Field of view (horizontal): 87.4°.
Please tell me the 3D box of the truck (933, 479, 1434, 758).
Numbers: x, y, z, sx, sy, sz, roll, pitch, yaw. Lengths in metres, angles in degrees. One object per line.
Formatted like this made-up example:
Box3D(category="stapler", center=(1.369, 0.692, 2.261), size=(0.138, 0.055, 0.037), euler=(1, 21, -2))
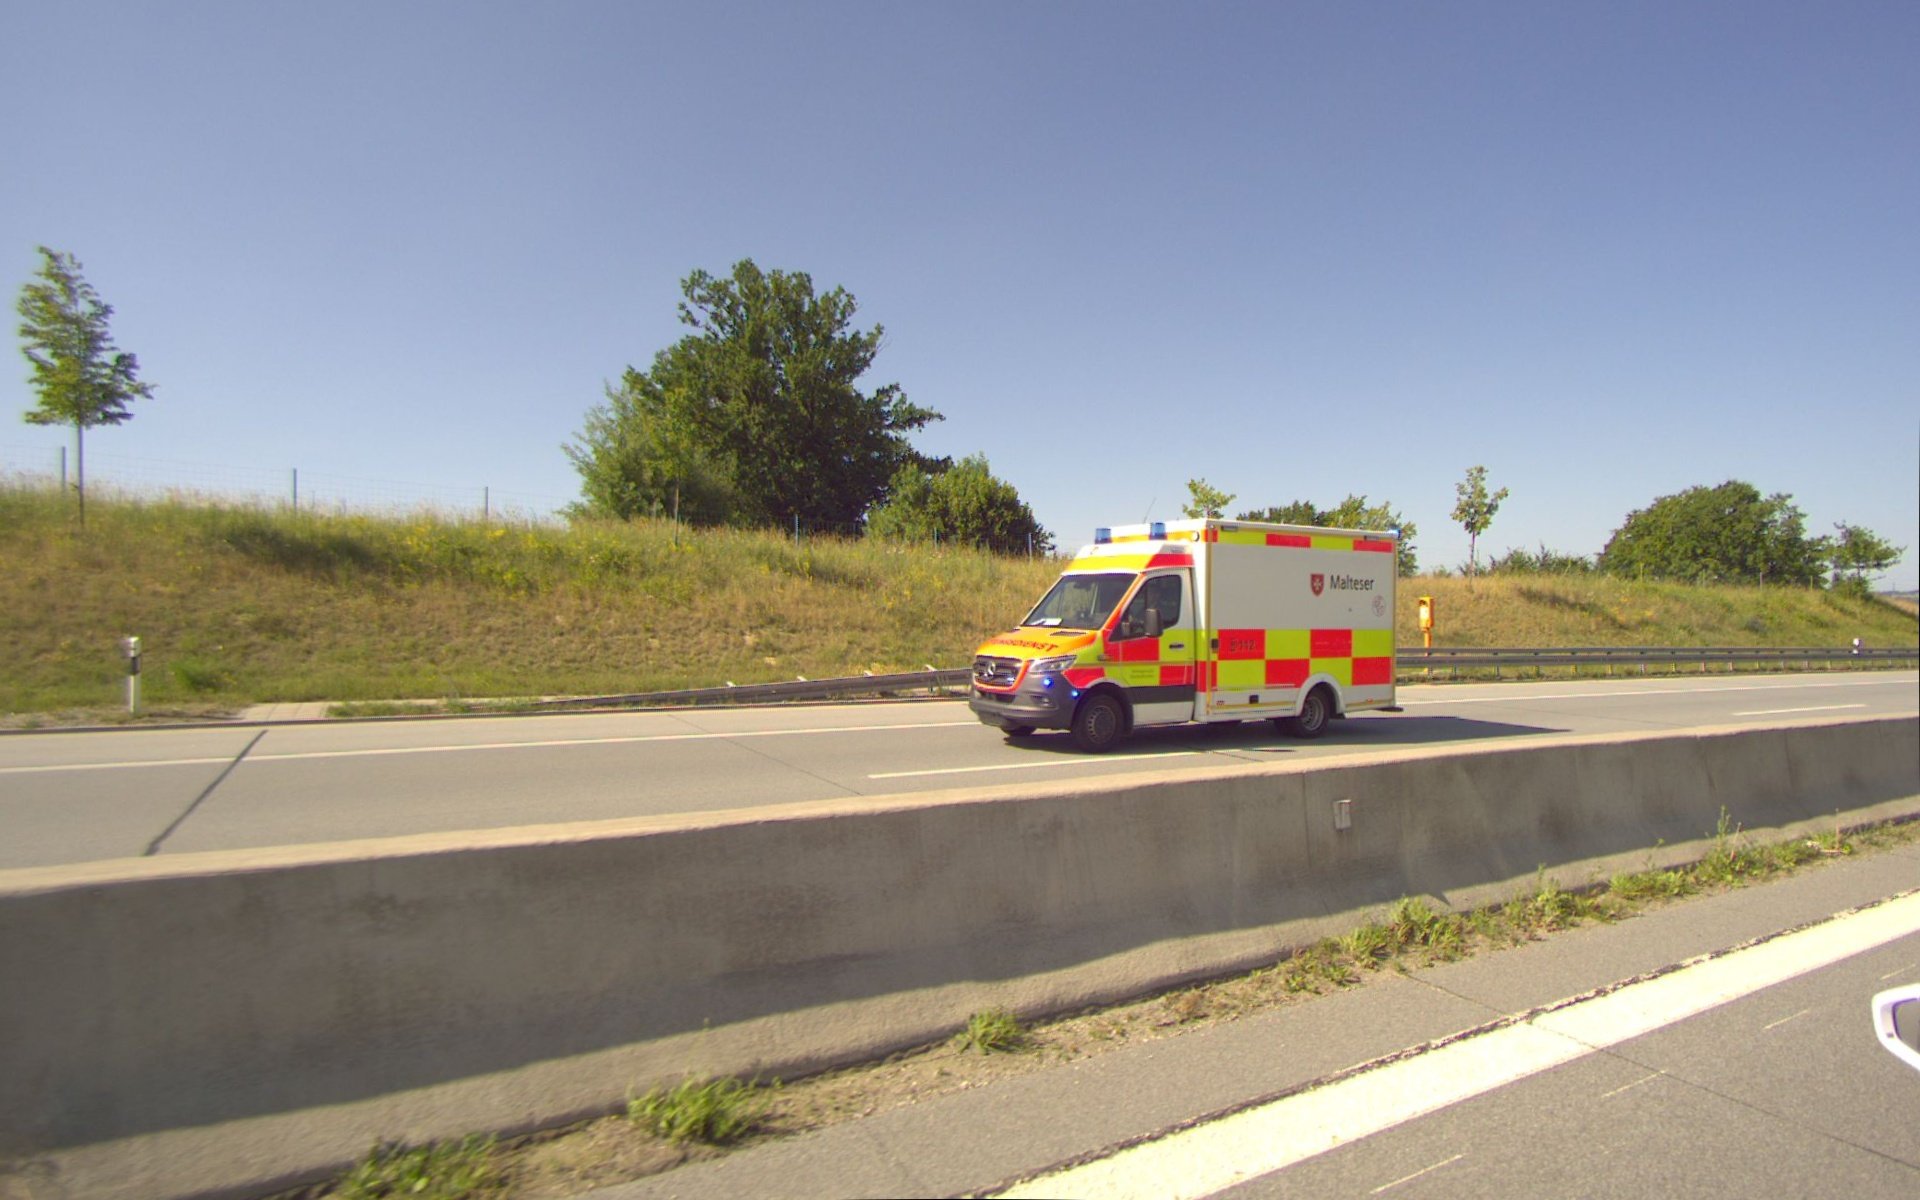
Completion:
Box3D(category="truck", center=(3.232, 0.274, 13.933), size=(6.713, 3.062, 2.761), euler=(1, -1, -31))
